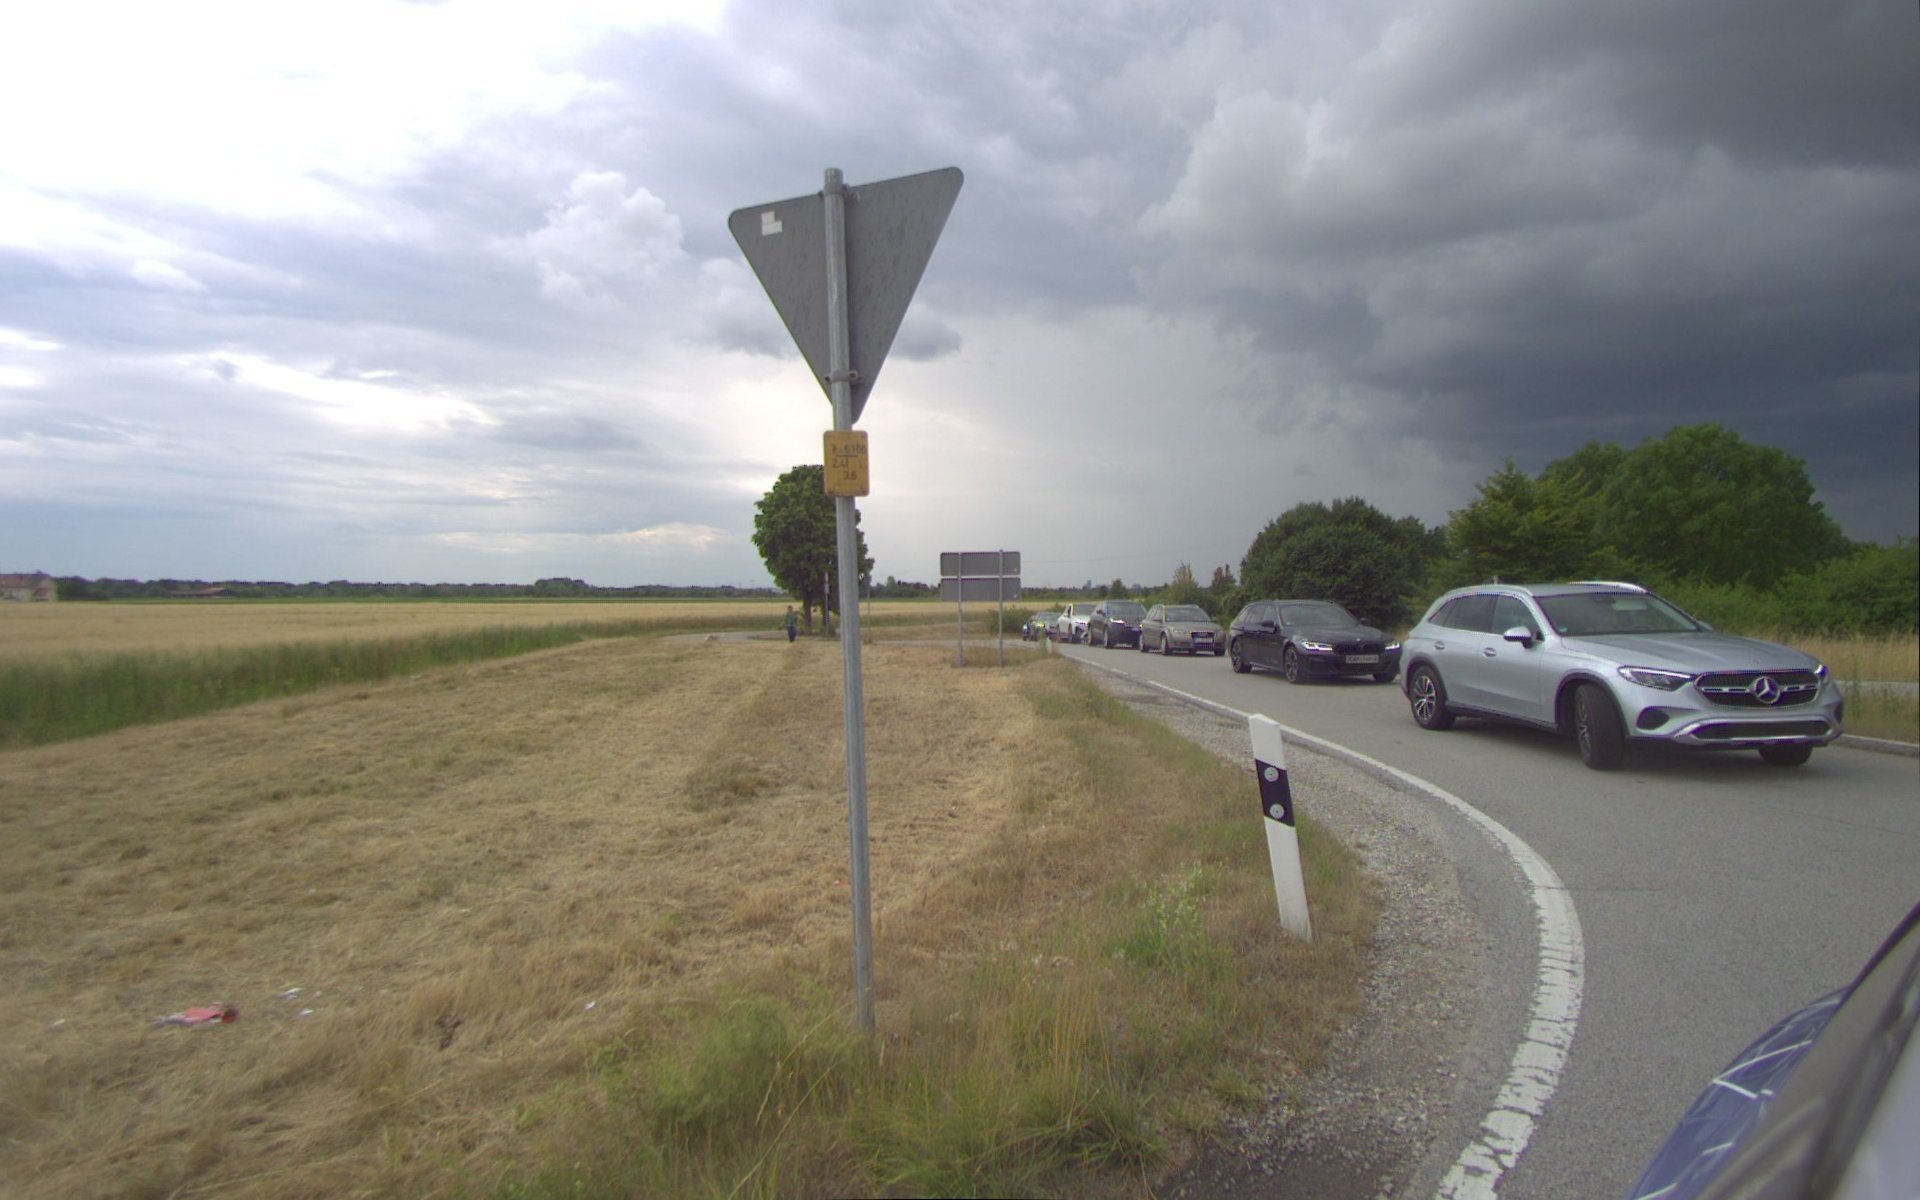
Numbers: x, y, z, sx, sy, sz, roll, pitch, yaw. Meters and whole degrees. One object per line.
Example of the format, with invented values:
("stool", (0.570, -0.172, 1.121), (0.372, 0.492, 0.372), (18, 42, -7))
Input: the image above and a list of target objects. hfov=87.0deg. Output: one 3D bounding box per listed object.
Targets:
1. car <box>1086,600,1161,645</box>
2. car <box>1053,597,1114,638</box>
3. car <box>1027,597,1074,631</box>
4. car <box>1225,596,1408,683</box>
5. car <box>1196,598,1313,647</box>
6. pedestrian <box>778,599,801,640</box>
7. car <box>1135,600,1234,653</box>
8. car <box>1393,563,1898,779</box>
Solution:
("car", (5.634, 0.742, 35.374), (1.688, 1.370, 4.216), (-2, 0, -3))
("car", (5.066, 0.669, 42.083), (1.688, 1.513, 4.641), (-2, 0, -3))
("car", (4.441, 0.670, 50.456), (1.688, 1.513, 4.216), (-2, 0, -3))
("car", (6.543, 0.649, 19.187), (1.689, 1.370, 4.696), (-2, 0, -1))
("car", (9.801, 0.700, 34.047), (1.735, 1.469, 4.402), (0, 1, -15))
("pedestrian", (-6.908, 0.761, 41.006), (0.757, 1.631, 0.947), (0, 0, -21))
("car", (6.374, 0.713, 29.149), (1.688, 1.370, 4.216), (0, 0, -3))
("car", (6.289, 0.539, 10.096), (1.959, 1.606, 4.394), (-2, 0, 0))
